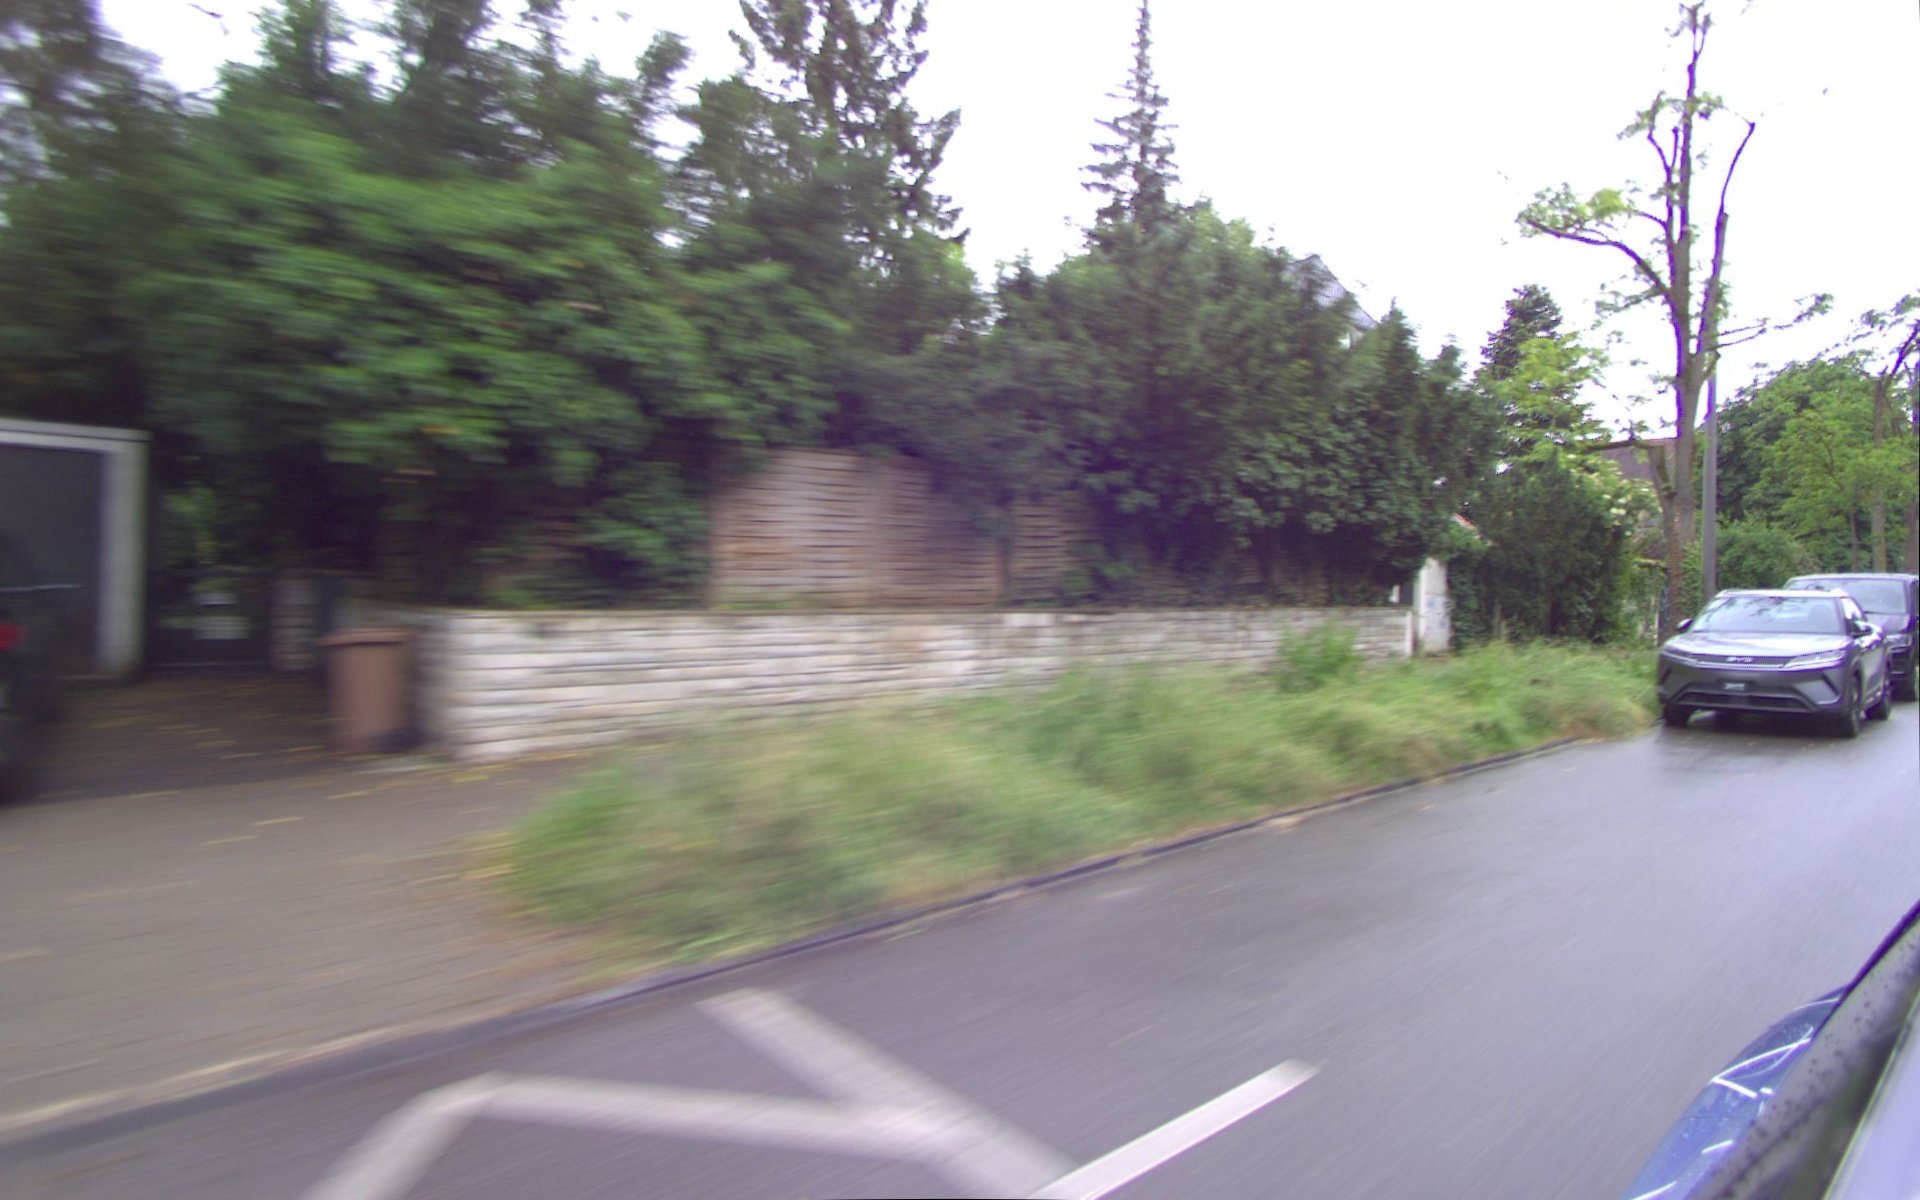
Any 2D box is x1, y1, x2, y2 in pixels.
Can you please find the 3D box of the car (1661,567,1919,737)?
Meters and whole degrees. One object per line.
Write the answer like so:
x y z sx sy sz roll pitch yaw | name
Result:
10.308 0.548 12.430 4.250 1.745 1.777 1 -1 -41 | car

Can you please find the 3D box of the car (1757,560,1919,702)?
14.981 0.462 16.699 4.801 2.039 1.997 1 -1 -41 | car

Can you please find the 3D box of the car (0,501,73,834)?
-6.893 0.213 6.262 1.965 1.702 4.320 -1 4 -40 | car

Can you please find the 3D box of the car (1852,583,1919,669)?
19.735 0.508 20.646 4.211 1.633 1.807 1 -1 -42 | car

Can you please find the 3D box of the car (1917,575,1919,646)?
27.415 0.301 27.435 4.156 1.871 1.733 1 -1 -41 | car
